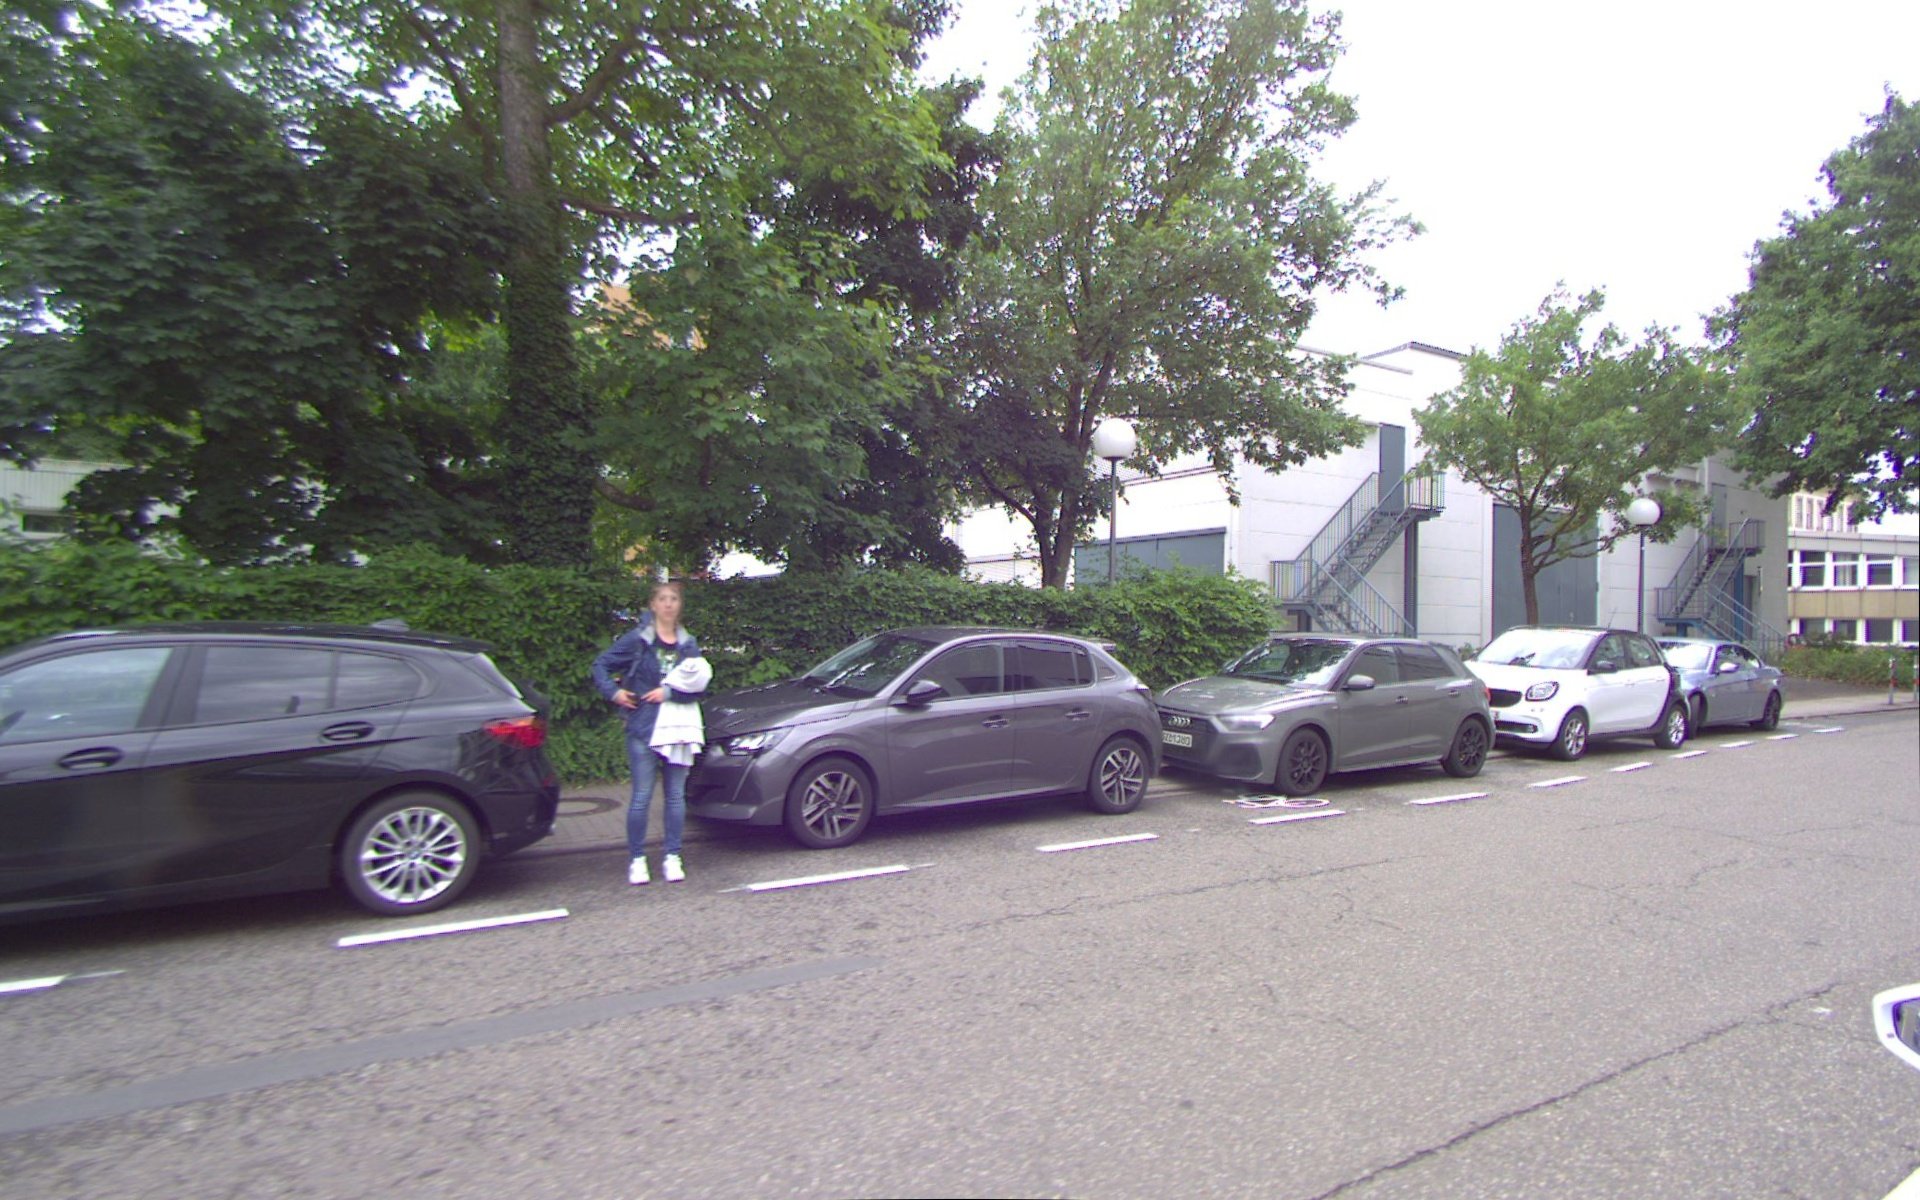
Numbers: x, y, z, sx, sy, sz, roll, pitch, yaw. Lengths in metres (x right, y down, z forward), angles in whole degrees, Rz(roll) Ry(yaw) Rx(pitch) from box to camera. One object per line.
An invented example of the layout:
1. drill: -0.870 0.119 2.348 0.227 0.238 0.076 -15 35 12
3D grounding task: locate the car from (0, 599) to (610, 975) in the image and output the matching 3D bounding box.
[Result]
1. car: -4.283 0.805 5.118 4.478 1.581 1.789 1 -1 -31

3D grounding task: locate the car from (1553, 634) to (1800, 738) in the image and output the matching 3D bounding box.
1. car: 11.403 1.273 15.918 4.149 1.407 1.807 1 -1 -33

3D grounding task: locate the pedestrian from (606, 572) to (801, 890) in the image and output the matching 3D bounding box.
1. pedestrian: -1.512 0.706 5.882 0.956 1.683 0.735 0 -1 -30

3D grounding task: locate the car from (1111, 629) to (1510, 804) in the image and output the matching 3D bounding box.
1. car: 3.622 1.023 10.205 3.964 1.430 1.754 1 -1 -32

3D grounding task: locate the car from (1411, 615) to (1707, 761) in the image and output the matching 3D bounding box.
1. car: 7.766 1.021 12.959 3.833 1.607 1.707 1 0 -31

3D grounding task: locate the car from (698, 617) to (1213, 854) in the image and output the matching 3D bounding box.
1. car: 0.022 0.924 8.053 3.780 1.490 1.753 2 -2 -31
